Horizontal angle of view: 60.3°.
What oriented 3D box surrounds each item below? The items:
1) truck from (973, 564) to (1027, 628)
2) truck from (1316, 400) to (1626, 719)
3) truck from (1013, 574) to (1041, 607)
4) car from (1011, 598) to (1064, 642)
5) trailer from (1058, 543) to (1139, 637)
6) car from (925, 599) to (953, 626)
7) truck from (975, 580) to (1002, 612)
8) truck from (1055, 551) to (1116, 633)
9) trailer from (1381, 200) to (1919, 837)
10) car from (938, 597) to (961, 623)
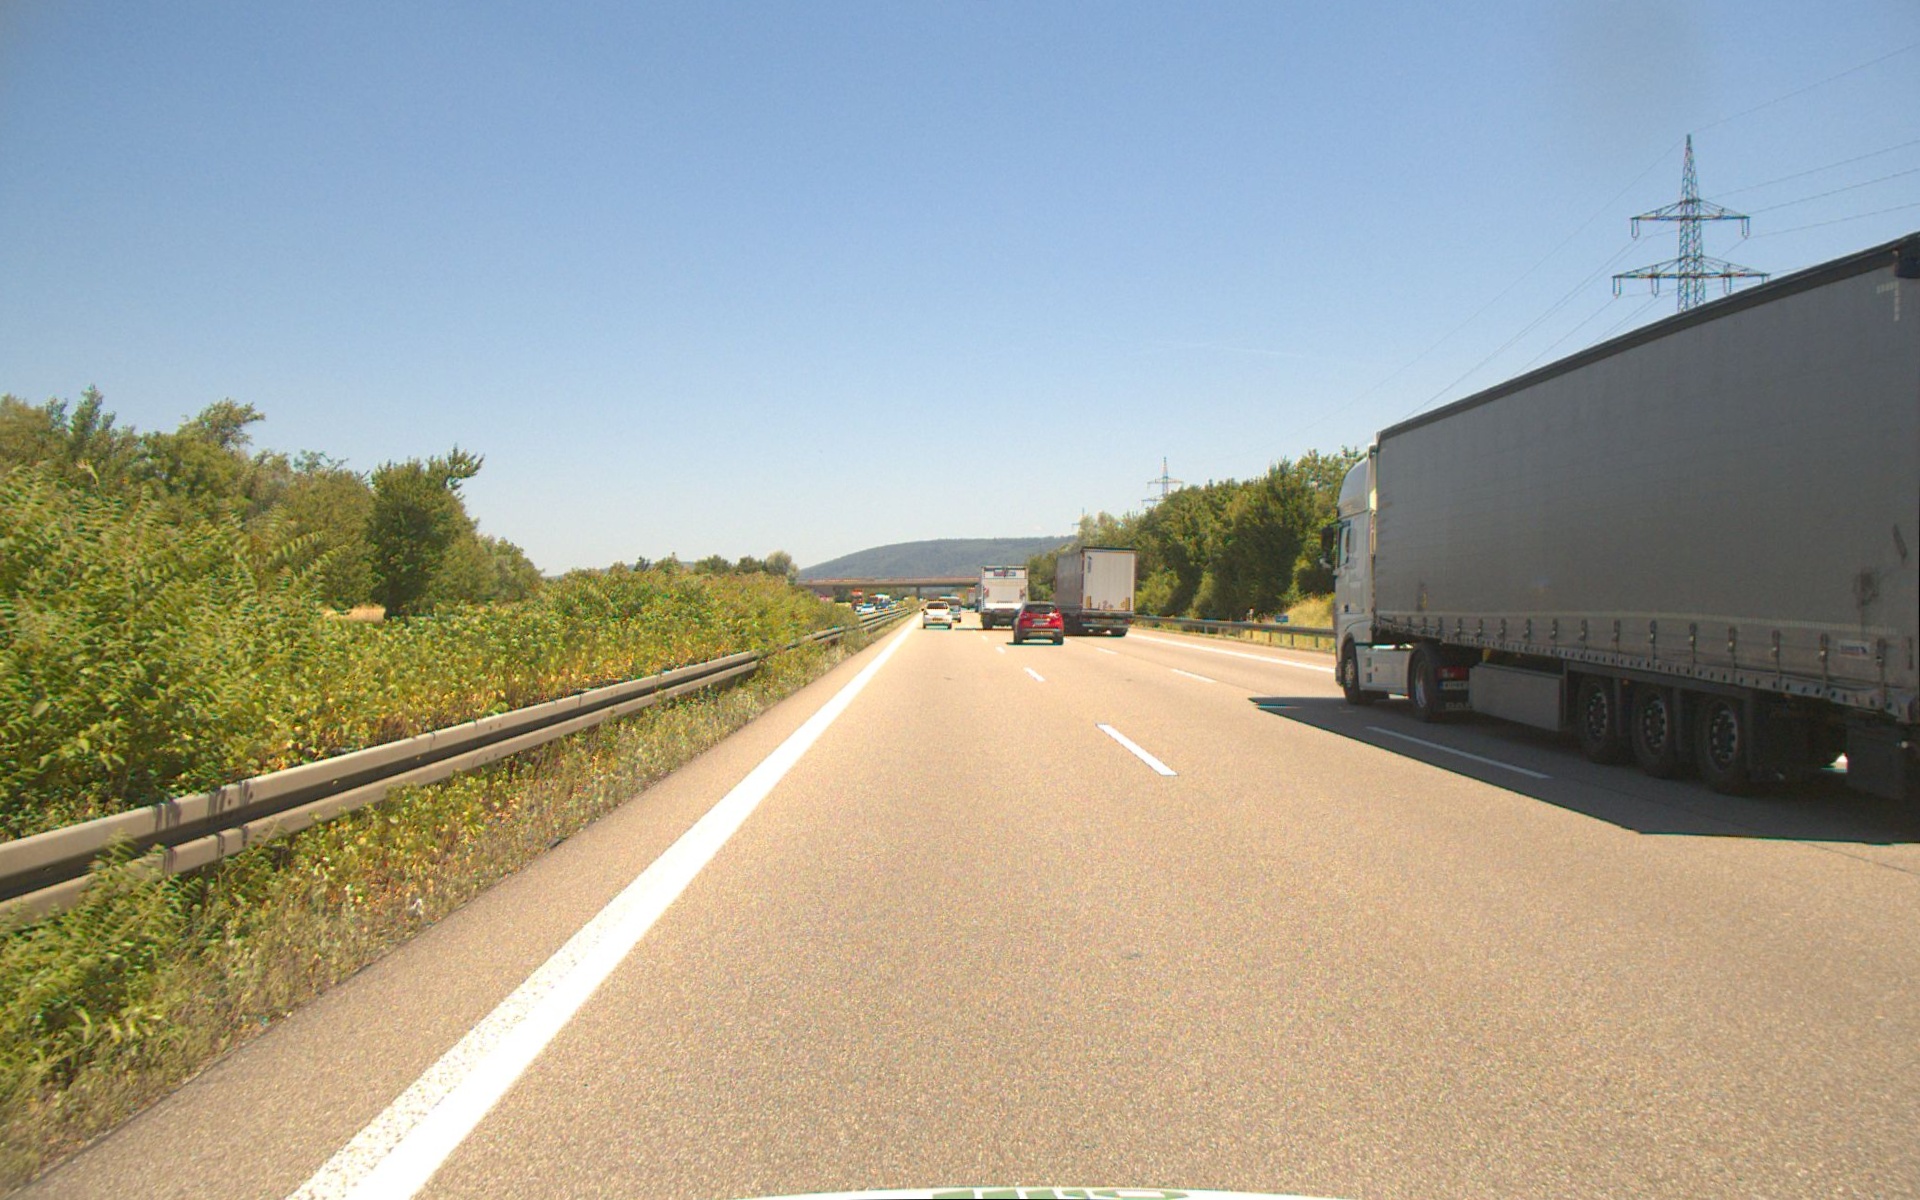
[{"bbox_3d":[2.193,-0.212,93.986,2.726,3.432,8.125,0,0,-1],"label":"truck"},{"bbox_3d":[7.403,-0.525,24.880,2.680,4.192,6.123,0,0,-1],"label":"truck"},{"bbox_3d":[6.784,-0.949,168.014,2.176,3.265,10.382,-1,0,-1],"label":"truck"},{"bbox_3d":[2.873,0.722,61.928,1.766,1.572,3.999,0,0,-1],"label":"car"},{"bbox_3d":[6.701,-0.429,81.919,2.732,4.237,13.572,-1,0,0],"label":"trailer"},{"bbox_3d":[-1.209,0.707,94.642,1.574,1.493,3.999,0,0,-1],"label":"car"},{"bbox_3d":[4.173,-0.551,247.032,3.449,4.493,14.588,-1,0,-1],"label":"truck"},{"bbox_3d":[6.661,-0.425,88.686,2.738,4.237,5.721,-1,0,-1],"label":"truck"},{"bbox_3d":[7.529,-0.525,17.316,2.680,4.178,13.119,0,0,-1],"label":"trailer"},{"bbox_3d":[-0.789,0.747,125.730,1.725,1.883,3.999,0,0,-1],"label":"car"}]
